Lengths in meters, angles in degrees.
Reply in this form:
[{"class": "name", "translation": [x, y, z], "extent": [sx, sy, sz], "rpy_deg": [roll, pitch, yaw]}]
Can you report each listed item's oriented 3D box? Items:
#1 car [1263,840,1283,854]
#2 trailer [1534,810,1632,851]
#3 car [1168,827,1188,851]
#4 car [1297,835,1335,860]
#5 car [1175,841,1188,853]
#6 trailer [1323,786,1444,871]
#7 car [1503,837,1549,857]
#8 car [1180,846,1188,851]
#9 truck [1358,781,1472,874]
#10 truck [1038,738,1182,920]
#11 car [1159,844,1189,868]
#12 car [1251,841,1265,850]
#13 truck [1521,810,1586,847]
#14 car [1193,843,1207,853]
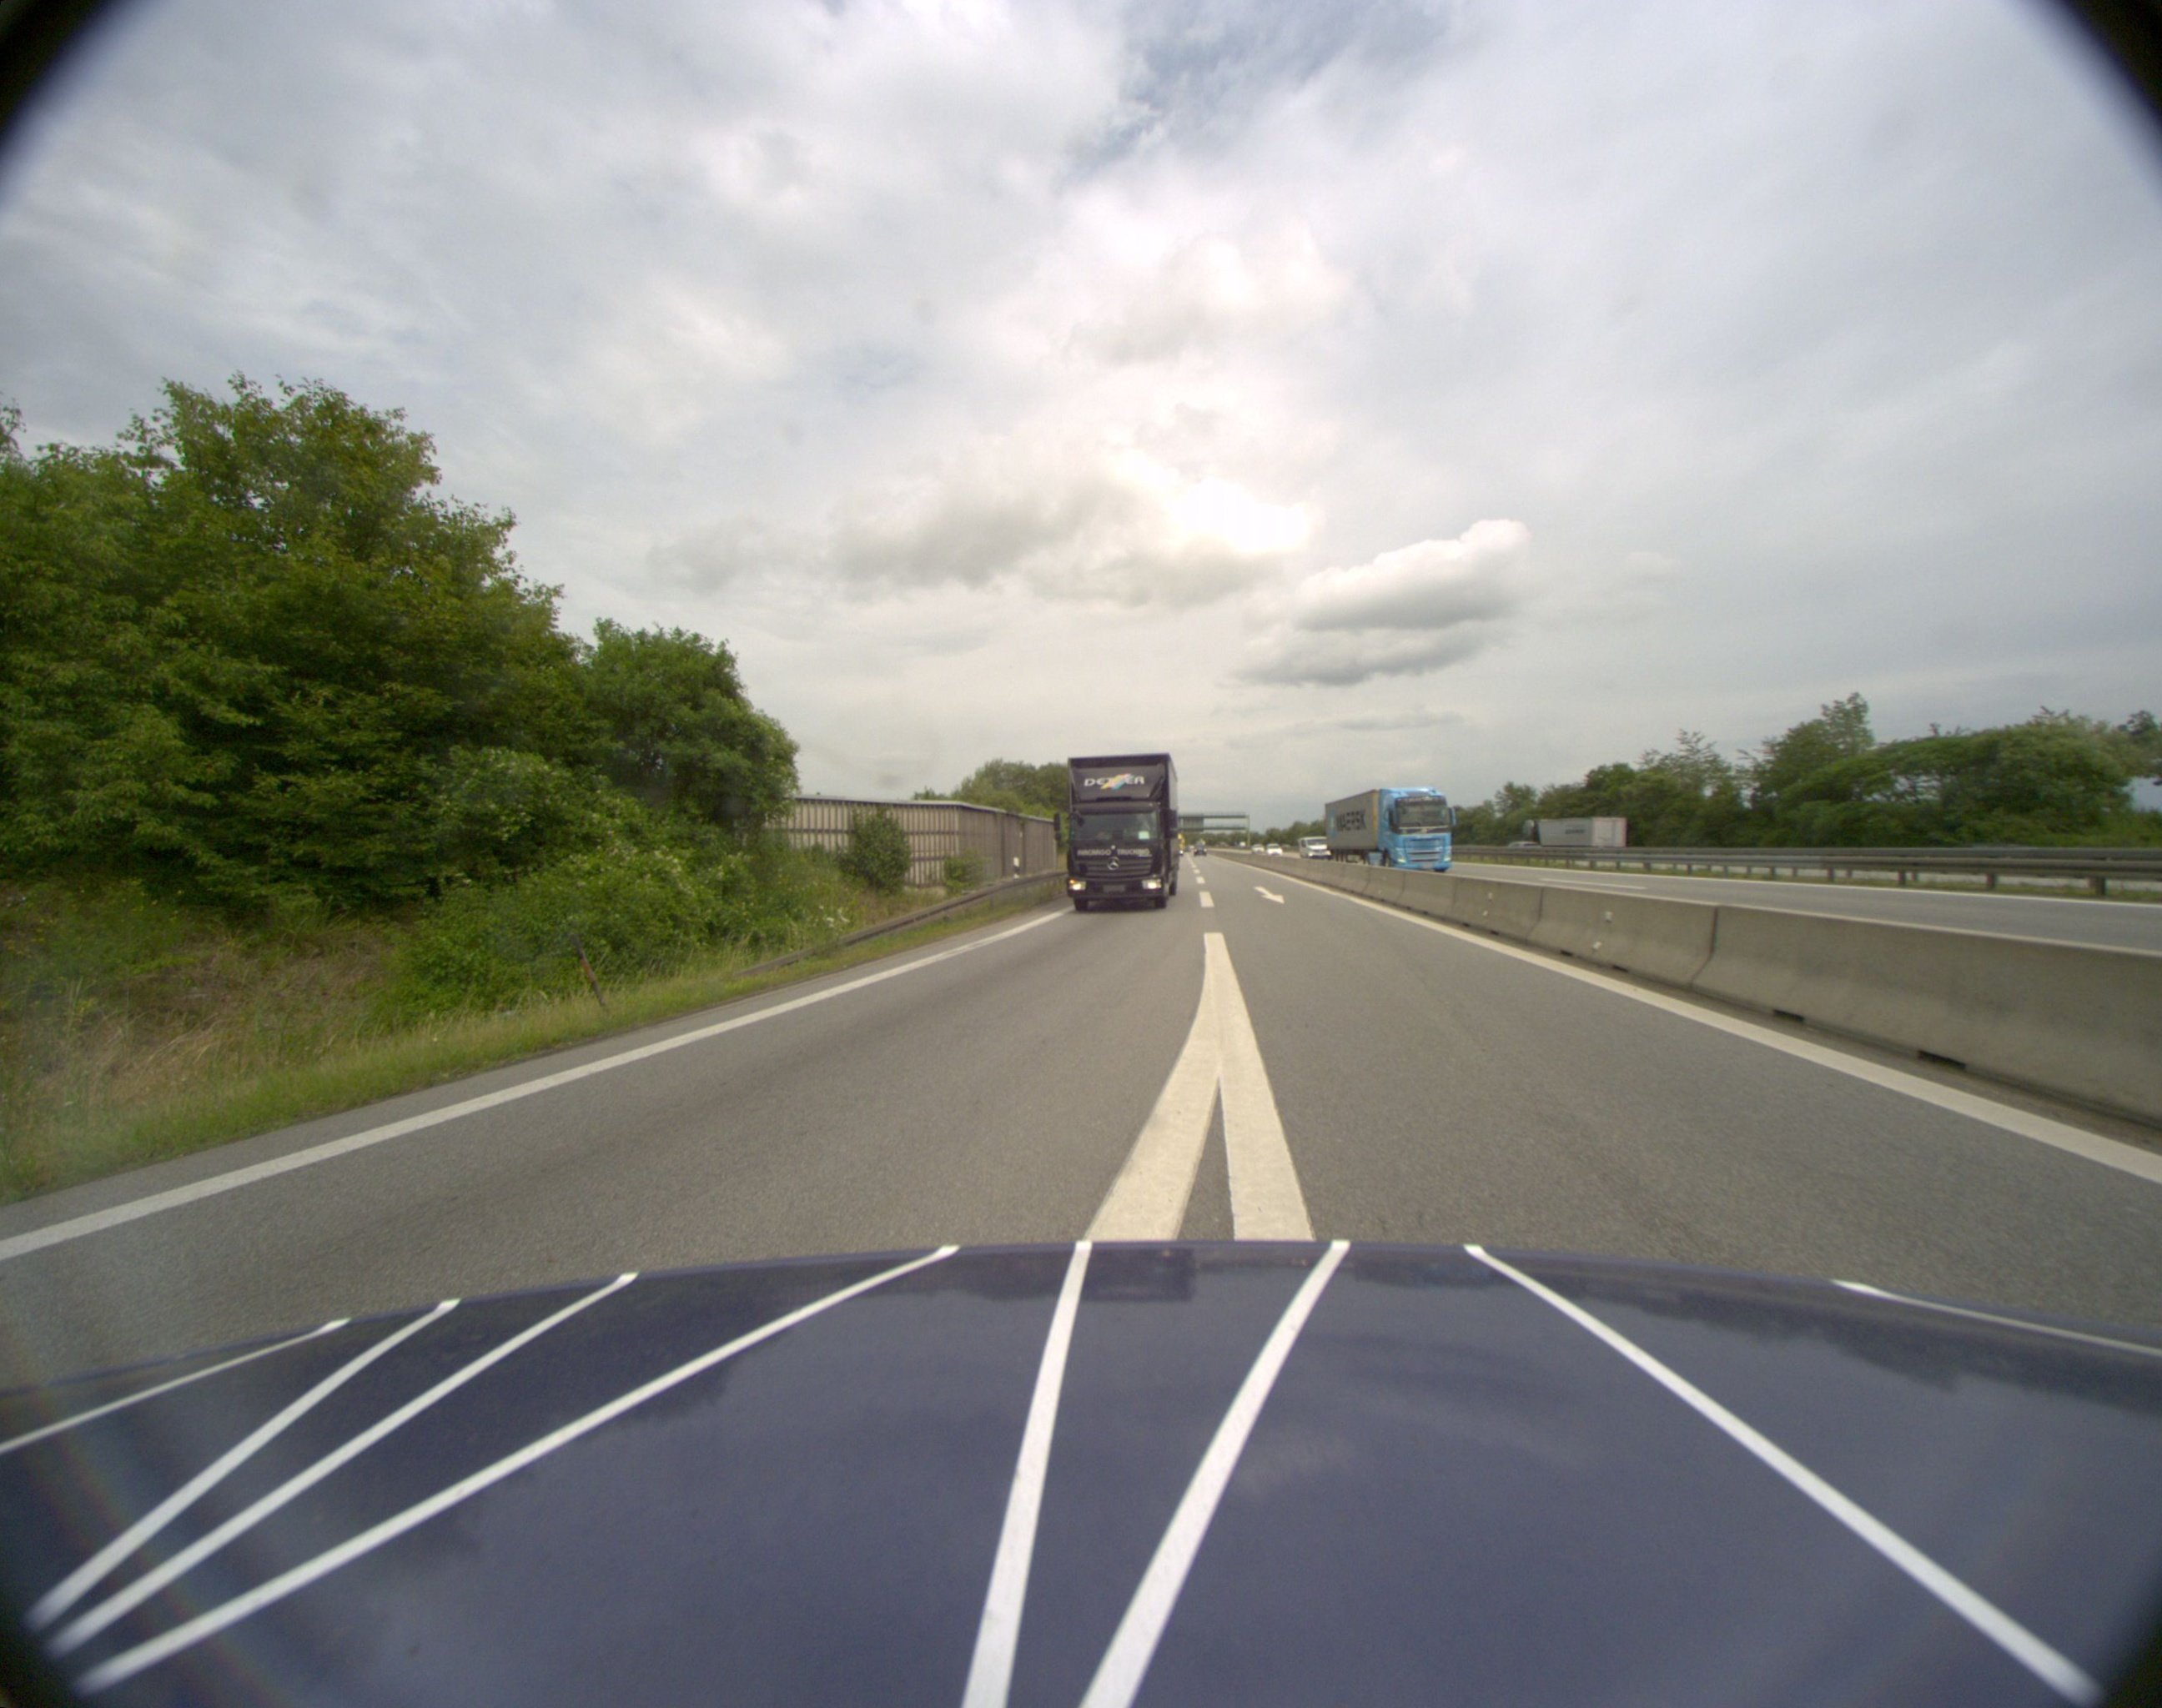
[{"class": "car", "translation": [21.660, -0.754, 85.854], "extent": [1.684, 1.476, 3.776], "rpy_deg": [-2, 0, 7]}, {"class": "trailer", "translation": [43.913, -1.981, 66.941], "extent": [3.203, 3.250, 9.828], "rpy_deg": [-1, 1, 8]}, {"class": "car", "translation": [19.677, -3.009, 154.044], "extent": [3.392, 4.458, 11.613], "rpy_deg": [-2, 1, 10]}, {"class": "car", "translation": [19.174, -0.565, 62.289], "extent": [2.003, 1.927, 5.134], "rpy_deg": [-3, 1, 7]}, {"class": "car", "translation": [15.595, -1.114, 117.610], "extent": [1.784, 1.762, 4.002], "rpy_deg": [-2, 1, 10]}, {"class": "trailer", "translation": [16.408, -1.329, 42.456], "extent": [3.242, 3.902, 12.384], "rpy_deg": [-2, 1, 8]}, {"class": "car", "translation": [35.181, -0.536, 60.194], "extent": [1.690, 1.476, 4.006], "rpy_deg": [-2, 1, 8]}, {"class": "car", "translation": [27.433, -1.479, 202.723], "extent": [1.865, 1.434, 4.001], "rpy_deg": [-1, 1, 7]}, {"class": "truck", "translation": [15.530, -1.179, 35.952], "extent": [3.253, 3.889, 6.613], "rpy_deg": [-2, 1, 9]}, {"class": "truck", "translation": [1.306, -0.603, 21.987], "extent": [3.022, 3.932, 10.345], "rpy_deg": [-2, 1, 8]}, {"class": "car", "translation": [6.089, 0.111, 49.944], "extent": [1.865, 1.434, 4.001], "rpy_deg": [-2, 1, 7]}, {"class": "car", "translation": [29.224, -1.394, 125.800], "extent": [1.756, 1.361, 4.207], "rpy_deg": [-1, 1, 6]}, {"class": "truck", "translation": [44.597, -2.360, 71.872], "extent": [3.156, 3.311, 5.625], "rpy_deg": [-2, 1, 8]}, {"class": "car", "translation": [17.888, -0.940, 114.514], "extent": [1.865, 1.434, 4.001], "rpy_deg": [-2, 1, 7]}]
